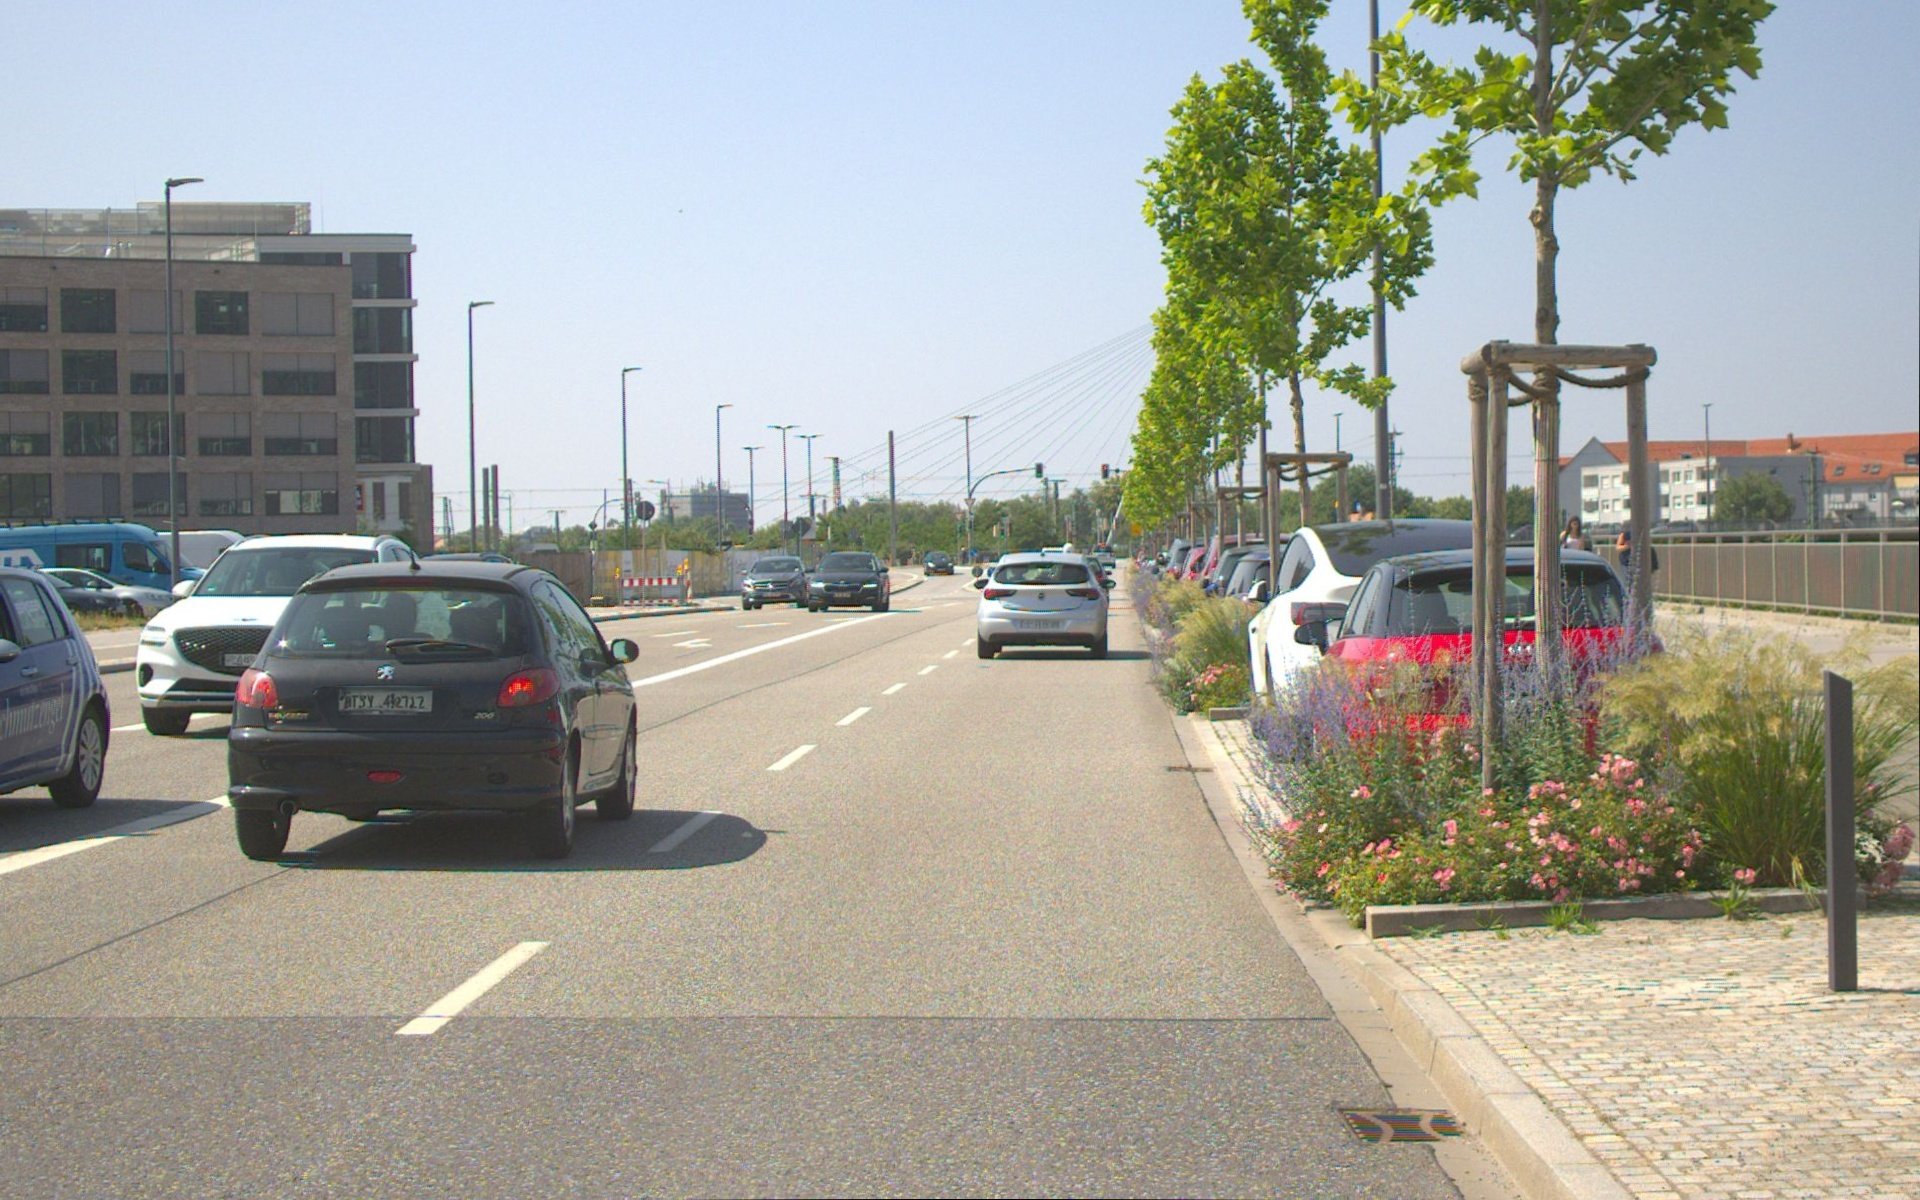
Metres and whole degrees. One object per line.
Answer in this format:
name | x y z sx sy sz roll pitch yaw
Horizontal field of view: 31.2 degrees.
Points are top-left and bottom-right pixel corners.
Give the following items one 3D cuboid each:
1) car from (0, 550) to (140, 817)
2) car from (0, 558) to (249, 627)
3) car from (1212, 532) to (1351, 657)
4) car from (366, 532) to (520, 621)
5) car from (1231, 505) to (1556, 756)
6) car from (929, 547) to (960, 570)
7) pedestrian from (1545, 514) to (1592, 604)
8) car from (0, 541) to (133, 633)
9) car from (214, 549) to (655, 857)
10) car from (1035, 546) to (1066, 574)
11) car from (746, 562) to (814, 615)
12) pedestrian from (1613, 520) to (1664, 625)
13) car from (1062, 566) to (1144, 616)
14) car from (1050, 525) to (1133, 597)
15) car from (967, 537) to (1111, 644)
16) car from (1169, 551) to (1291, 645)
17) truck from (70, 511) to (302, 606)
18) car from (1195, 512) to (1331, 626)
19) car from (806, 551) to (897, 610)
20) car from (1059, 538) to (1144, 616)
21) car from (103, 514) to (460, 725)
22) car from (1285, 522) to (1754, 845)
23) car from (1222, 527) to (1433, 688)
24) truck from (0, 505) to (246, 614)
car | -5.972 0.435 18.784 1.786 1.416 4.282 0 1 3
car | -19.083 -0.169 77.459 5.650 1.469 2.107 1 0 1
car | 4.026 -0.105 43.481 1.620 1.474 3.823 -1 1 4
car | -8.667 -0.368 57.920 1.894 1.410 3.598 1 -1 3
car | 3.026 0.195 24.912 1.872 1.622 4.876 1 0 2
car | -0.995 -2.577 216.263 1.704 1.347 4.456 -1 0 3
pedestrian | 11.626 -0.780 65.664 0.781 1.699 0.742 1 0 3
car | -19.967 -0.272 73.541 3.988 1.897 1.827 -1 0 10
car | -2.608 0.477 17.834 1.619 1.411 3.727 1 0 1
car | 5.591 -2.470 212.743 1.855 1.644 4.000 1 0 2
car | -5.137 -0.312 98.299 1.793 1.411 4.000 1 -1 -1
pedestrian | 11.133 -0.447 56.440 0.732 1.699 0.651 1 -1 3
car | 3.833 -0.240 92.856 1.632 1.306 4.001 1 0 -6
car | 3.059 -0.882 79.431 1.778 1.563 3.999 1 -1 4
car | 1.148 -0.150 48.294 1.778 1.437 3.999 0 0 5
car | 4.603 -0.051 59.052 1.603 1.486 3.819 -2 1 -2
truck | -20.522 -1.101 91.342 5.567 2.354 2.275 -1 0 1
car | 4.526 -0.497 51.833 1.909 1.611 4.548 -1 1 4
car | -2.654 -0.467 84.920 1.787 1.393 4.571 1 0 4
car | 3.261 -0.501 79.807 1.793 1.744 4.000 0 0 0
car | -5.693 0.134 29.449 1.913 1.644 4.730 0 0 3
car | 2.826 0.363 18.229 1.994 1.514 4.000 0 1 3
car | 3.625 0.027 34.536 1.909 1.474 4.157 -1 1 4
truck | -20.738 -0.979 84.158 6.004 2.535 2.275 1 0 0
